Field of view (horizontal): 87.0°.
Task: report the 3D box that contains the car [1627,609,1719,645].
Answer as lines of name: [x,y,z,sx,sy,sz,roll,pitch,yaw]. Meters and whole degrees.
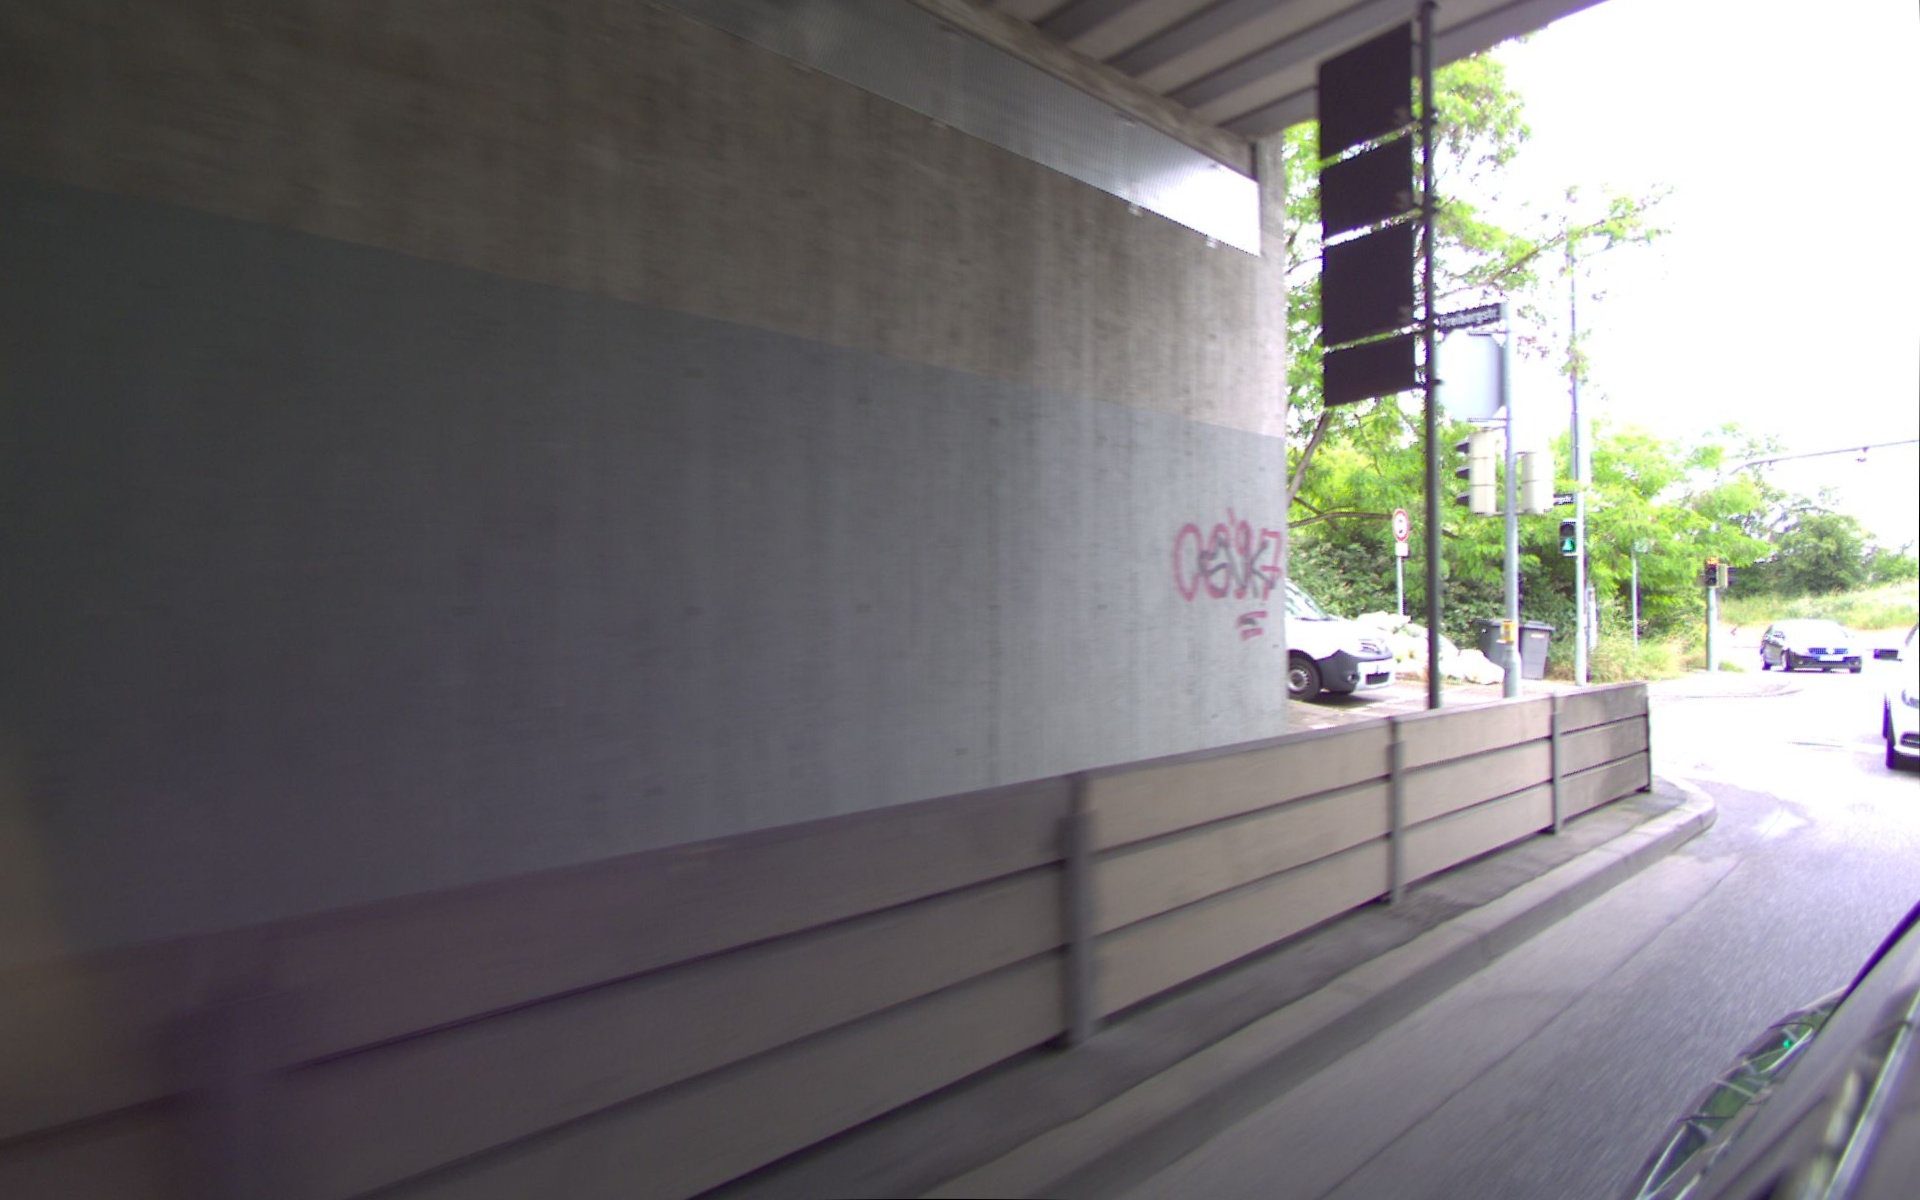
car: [39.023,1.438,55.531,1.661,1.848,4.727,0,0,-1]

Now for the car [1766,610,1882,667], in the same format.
car: [25.332,1.095,29.820,1.807,1.564,3.688,0,-1,28]

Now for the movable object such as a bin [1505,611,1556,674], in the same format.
movable object such as a bin: [10.481,0.770,18.608,0.565,1.130,0.644,0,-1,1]

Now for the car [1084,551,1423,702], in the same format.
car: [4.191,0.248,14.998,4.482,1.806,1.798,4,4,44]

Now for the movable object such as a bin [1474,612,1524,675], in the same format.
movable object such as a bin: [9.857,0.783,18.526,0.565,1.130,0.644,0,-1,1]

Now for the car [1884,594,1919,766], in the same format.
car: [9.971,0.691,9.324,3.933,1.441,1.884,1,-1,-44]
